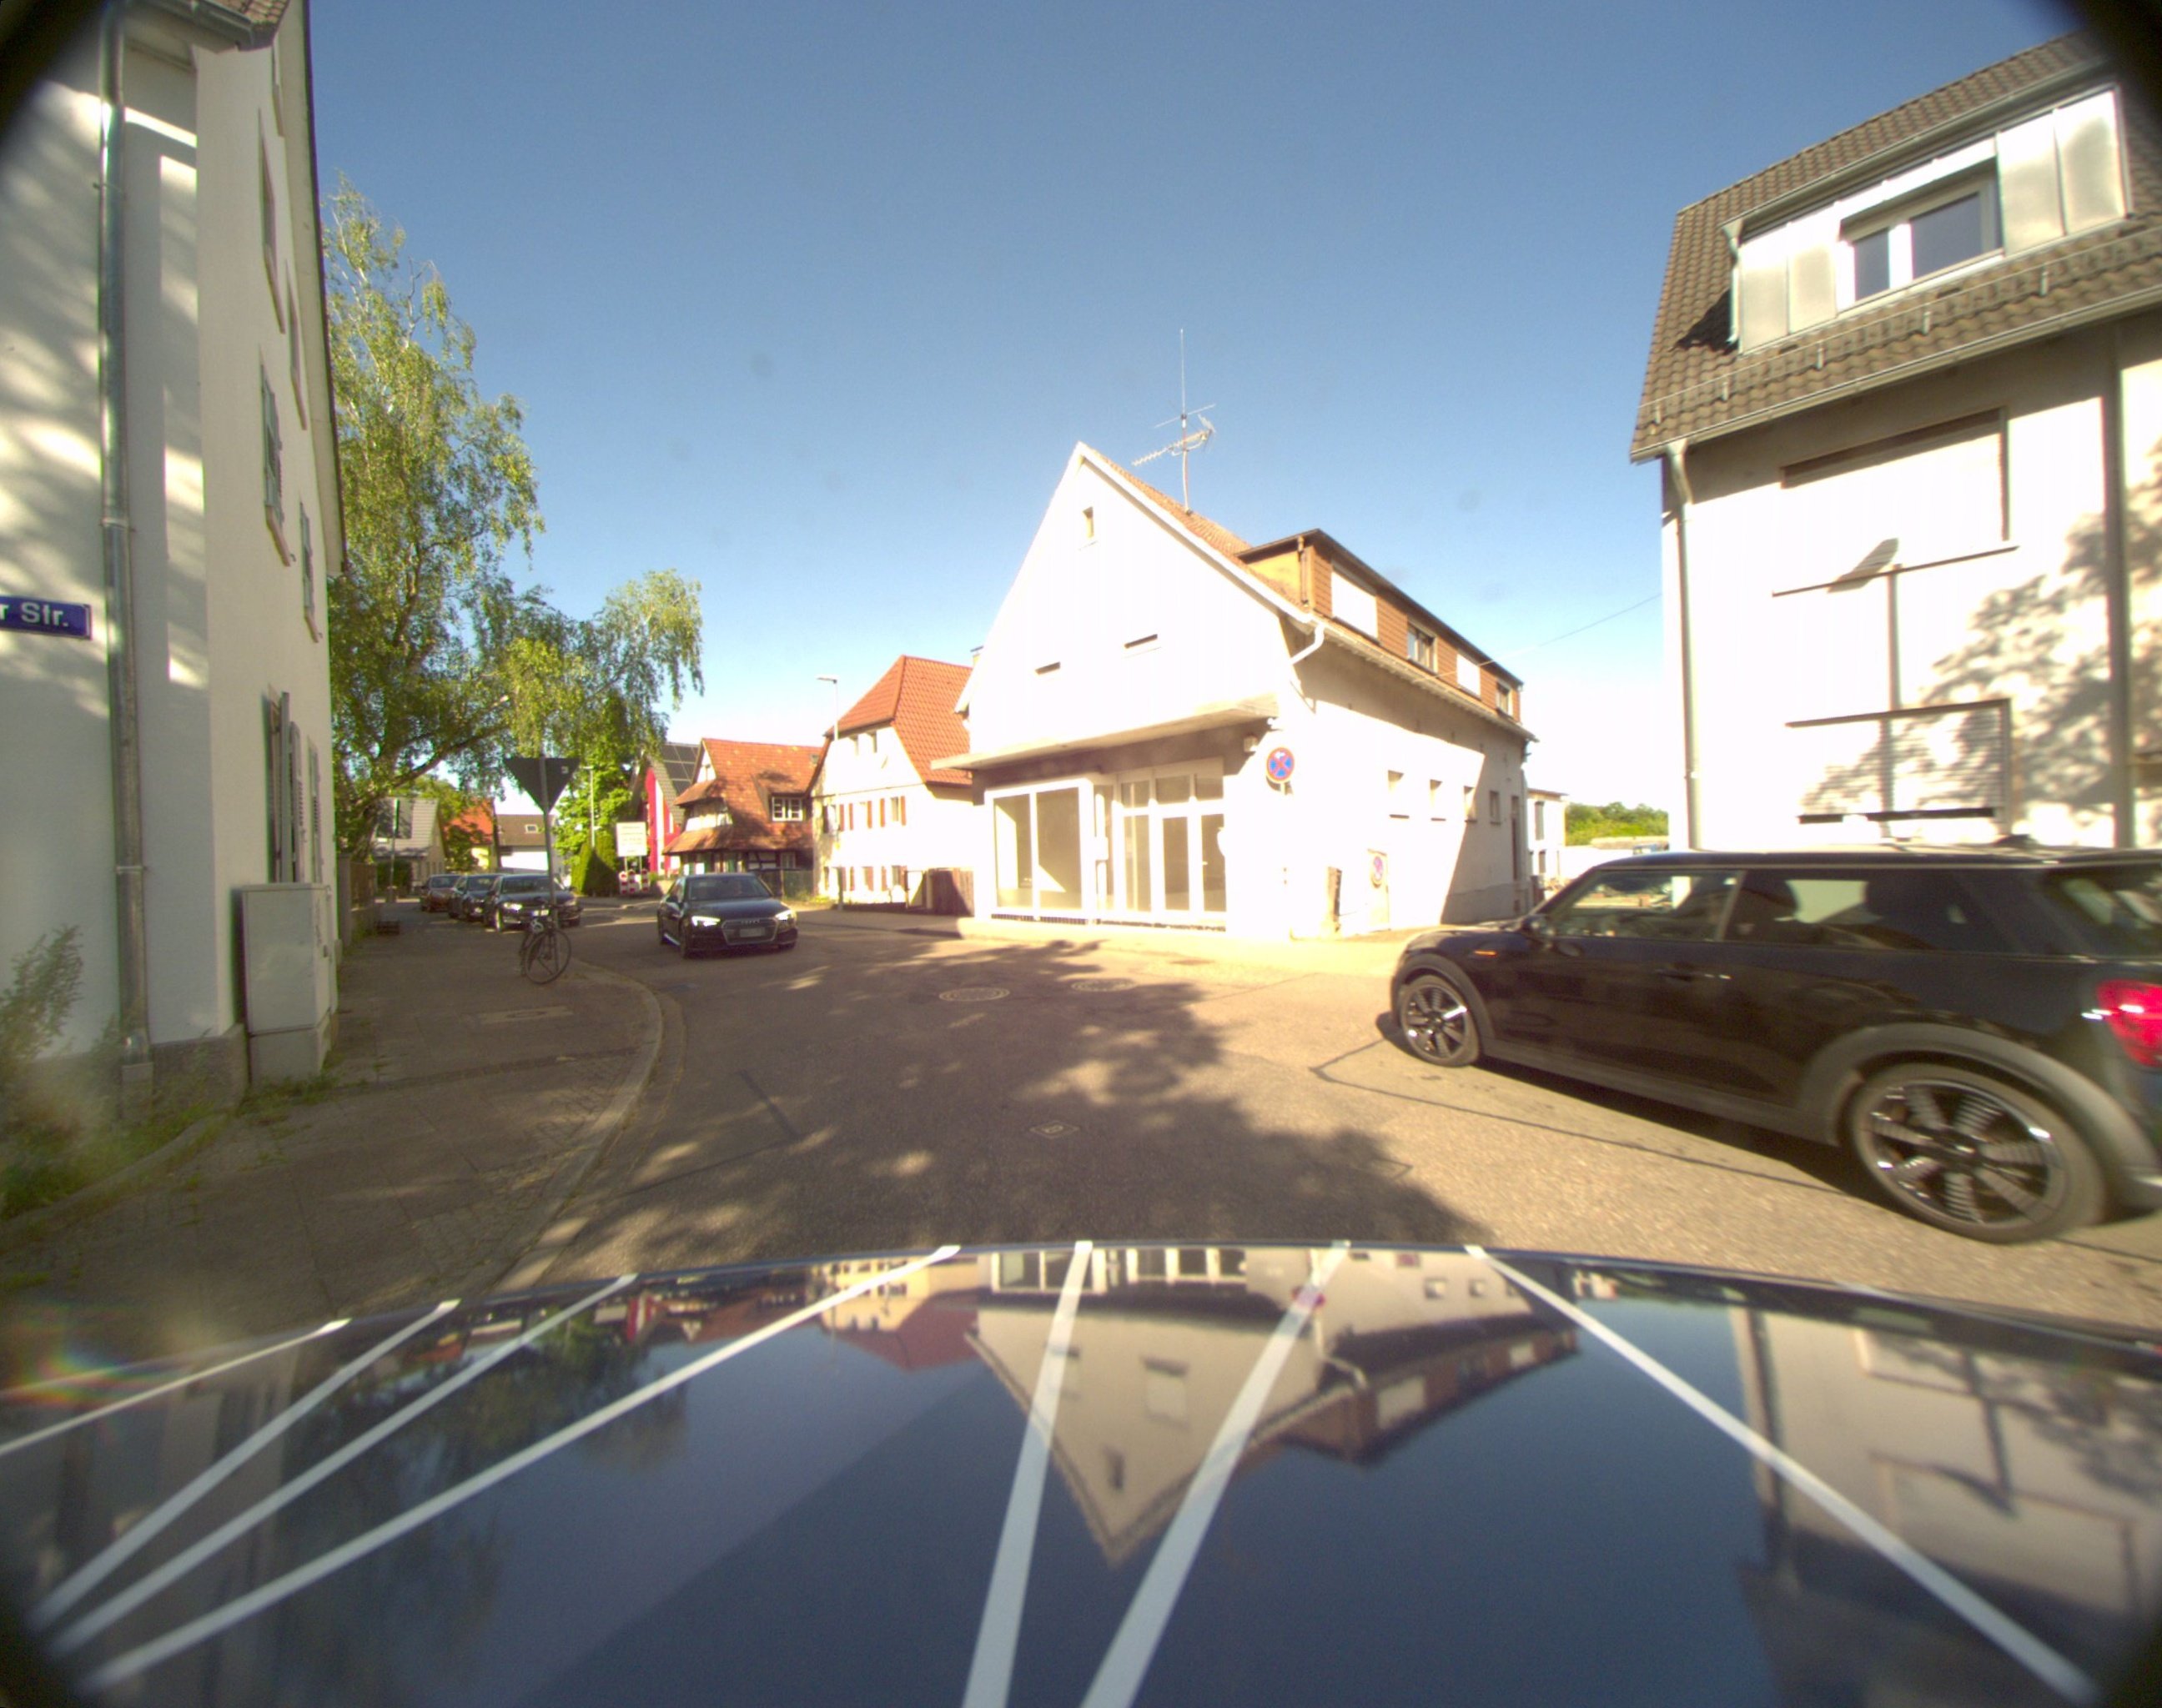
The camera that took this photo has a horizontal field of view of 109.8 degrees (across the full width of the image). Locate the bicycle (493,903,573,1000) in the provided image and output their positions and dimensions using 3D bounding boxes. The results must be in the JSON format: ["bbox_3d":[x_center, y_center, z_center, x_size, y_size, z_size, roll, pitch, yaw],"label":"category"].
[{"bbox_3d":[-7.113,1.213,9.832,1.884,1.073,0.437,-1,0,42],"label":"bicycle"}]

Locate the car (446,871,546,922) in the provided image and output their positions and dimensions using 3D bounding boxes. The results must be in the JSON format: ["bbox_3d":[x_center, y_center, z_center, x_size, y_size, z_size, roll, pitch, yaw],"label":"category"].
[{"bbox_3d":[-18.840,1.315,24.394,4.273,1.427,1.817,-2,0,43],"label":"car"}]

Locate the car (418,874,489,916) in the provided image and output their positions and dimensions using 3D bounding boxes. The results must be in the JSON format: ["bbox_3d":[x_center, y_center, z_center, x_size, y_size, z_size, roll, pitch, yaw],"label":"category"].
[{"bbox_3d":[-25.150,1.601,30.401,3.922,1.470,1.657,-2,0,43],"label":"car"}]

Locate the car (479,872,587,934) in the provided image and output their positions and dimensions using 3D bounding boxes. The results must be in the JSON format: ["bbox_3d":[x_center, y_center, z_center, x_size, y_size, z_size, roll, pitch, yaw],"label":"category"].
[{"bbox_3d":[-15.006,1.264,20.714,1.817,1.427,4.274,-2,0,-43],"label":"car"}]

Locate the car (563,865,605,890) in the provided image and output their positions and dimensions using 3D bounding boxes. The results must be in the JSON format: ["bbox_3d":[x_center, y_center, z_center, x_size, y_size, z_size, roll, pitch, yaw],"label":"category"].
[{"bbox_3d":[-35.406,1.654,54.254,1.825,1.586,4.436,-2,0,-25],"label":"car"}]

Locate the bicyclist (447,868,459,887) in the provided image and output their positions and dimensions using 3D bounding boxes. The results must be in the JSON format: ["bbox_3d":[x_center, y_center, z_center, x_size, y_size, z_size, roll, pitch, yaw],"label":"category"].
[{"bbox_3d":[-44.110,1.651,53.356,0.584,1.312,0.606,1,-1,-35],"label":"bicyclist"}]

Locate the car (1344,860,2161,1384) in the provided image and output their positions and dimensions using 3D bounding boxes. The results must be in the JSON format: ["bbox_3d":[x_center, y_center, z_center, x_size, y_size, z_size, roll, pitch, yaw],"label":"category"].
[{"bbox_3d":[3.423,0.801,4.168,1.666,1.469,3.994,-2,0,-17],"label":"car"}]

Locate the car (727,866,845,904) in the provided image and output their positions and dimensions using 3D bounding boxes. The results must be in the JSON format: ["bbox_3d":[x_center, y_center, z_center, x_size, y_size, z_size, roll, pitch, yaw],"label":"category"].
[{"bbox_3d":[-12.158,1.263,31.546,1.843,1.453,4.182,-2,-2,40],"label":"car"}]

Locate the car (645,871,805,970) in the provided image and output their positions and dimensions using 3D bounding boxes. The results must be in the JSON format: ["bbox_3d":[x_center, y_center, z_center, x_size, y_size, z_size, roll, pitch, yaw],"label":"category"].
[{"bbox_3d":[-6.722,1.084,14.066,1.812,1.469,4.332,-2,0,-37],"label":"car"}]

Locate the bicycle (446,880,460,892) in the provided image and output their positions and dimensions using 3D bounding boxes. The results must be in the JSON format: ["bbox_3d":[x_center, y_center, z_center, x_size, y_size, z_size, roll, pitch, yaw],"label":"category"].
[{"bbox_3d":[-44.085,2.248,53.360,0.584,0.757,1.795,1,-2,-35],"label":"bicycle"}]

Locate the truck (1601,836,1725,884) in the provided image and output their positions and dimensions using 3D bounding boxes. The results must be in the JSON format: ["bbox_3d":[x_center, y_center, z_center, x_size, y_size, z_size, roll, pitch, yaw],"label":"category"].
[{"bbox_3d":[38.255,0.396,50.114,2.133,2.932,6.217,0,0,-41],"label":"truck"}]

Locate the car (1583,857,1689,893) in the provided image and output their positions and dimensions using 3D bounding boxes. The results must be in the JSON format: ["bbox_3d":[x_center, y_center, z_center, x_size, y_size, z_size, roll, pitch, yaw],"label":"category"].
[{"bbox_3d":[29.452,1.133,40.385,4.251,1.759,1.953,-2,0,44],"label":"car"}]
